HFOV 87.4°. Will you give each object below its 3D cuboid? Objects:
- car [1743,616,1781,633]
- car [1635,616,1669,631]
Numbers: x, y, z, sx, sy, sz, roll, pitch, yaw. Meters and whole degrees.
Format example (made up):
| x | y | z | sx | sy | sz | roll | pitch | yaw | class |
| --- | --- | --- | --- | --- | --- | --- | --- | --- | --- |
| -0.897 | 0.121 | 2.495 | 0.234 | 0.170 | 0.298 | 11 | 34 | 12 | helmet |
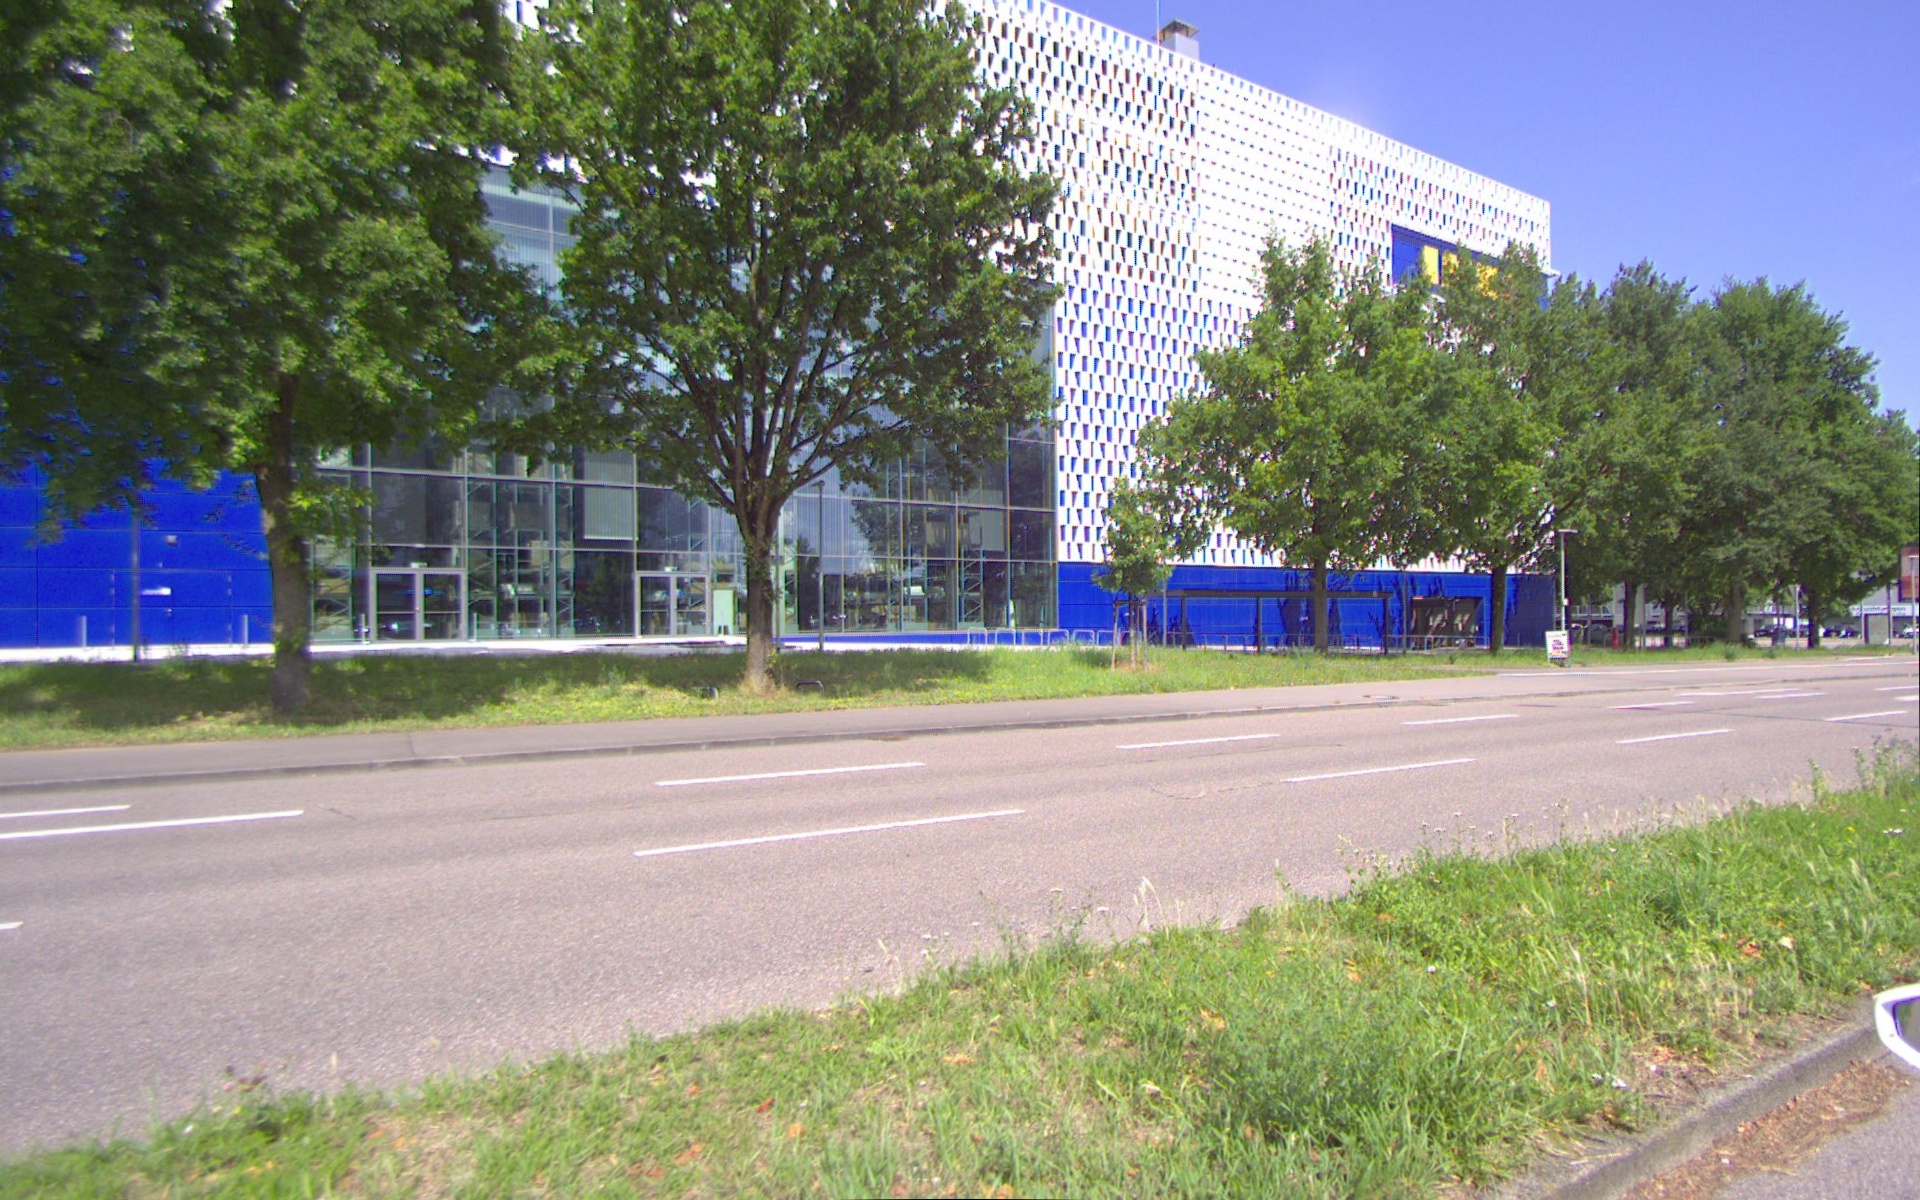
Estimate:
| x | y | z | sx | sy | sz | roll | pitch | yaw | class |
| --- | --- | --- | --- | --- | --- | --- | --- | --- | --- |
| 77.708 | 2.359 | 97.276 | 3.661 | 1.508 | 1.826 | 0 | 0 | -33 | car |
| 74.408 | 2.545 | 107.996 | 3.660 | 1.506 | 1.718 | 0 | 0 | -32 | car |
